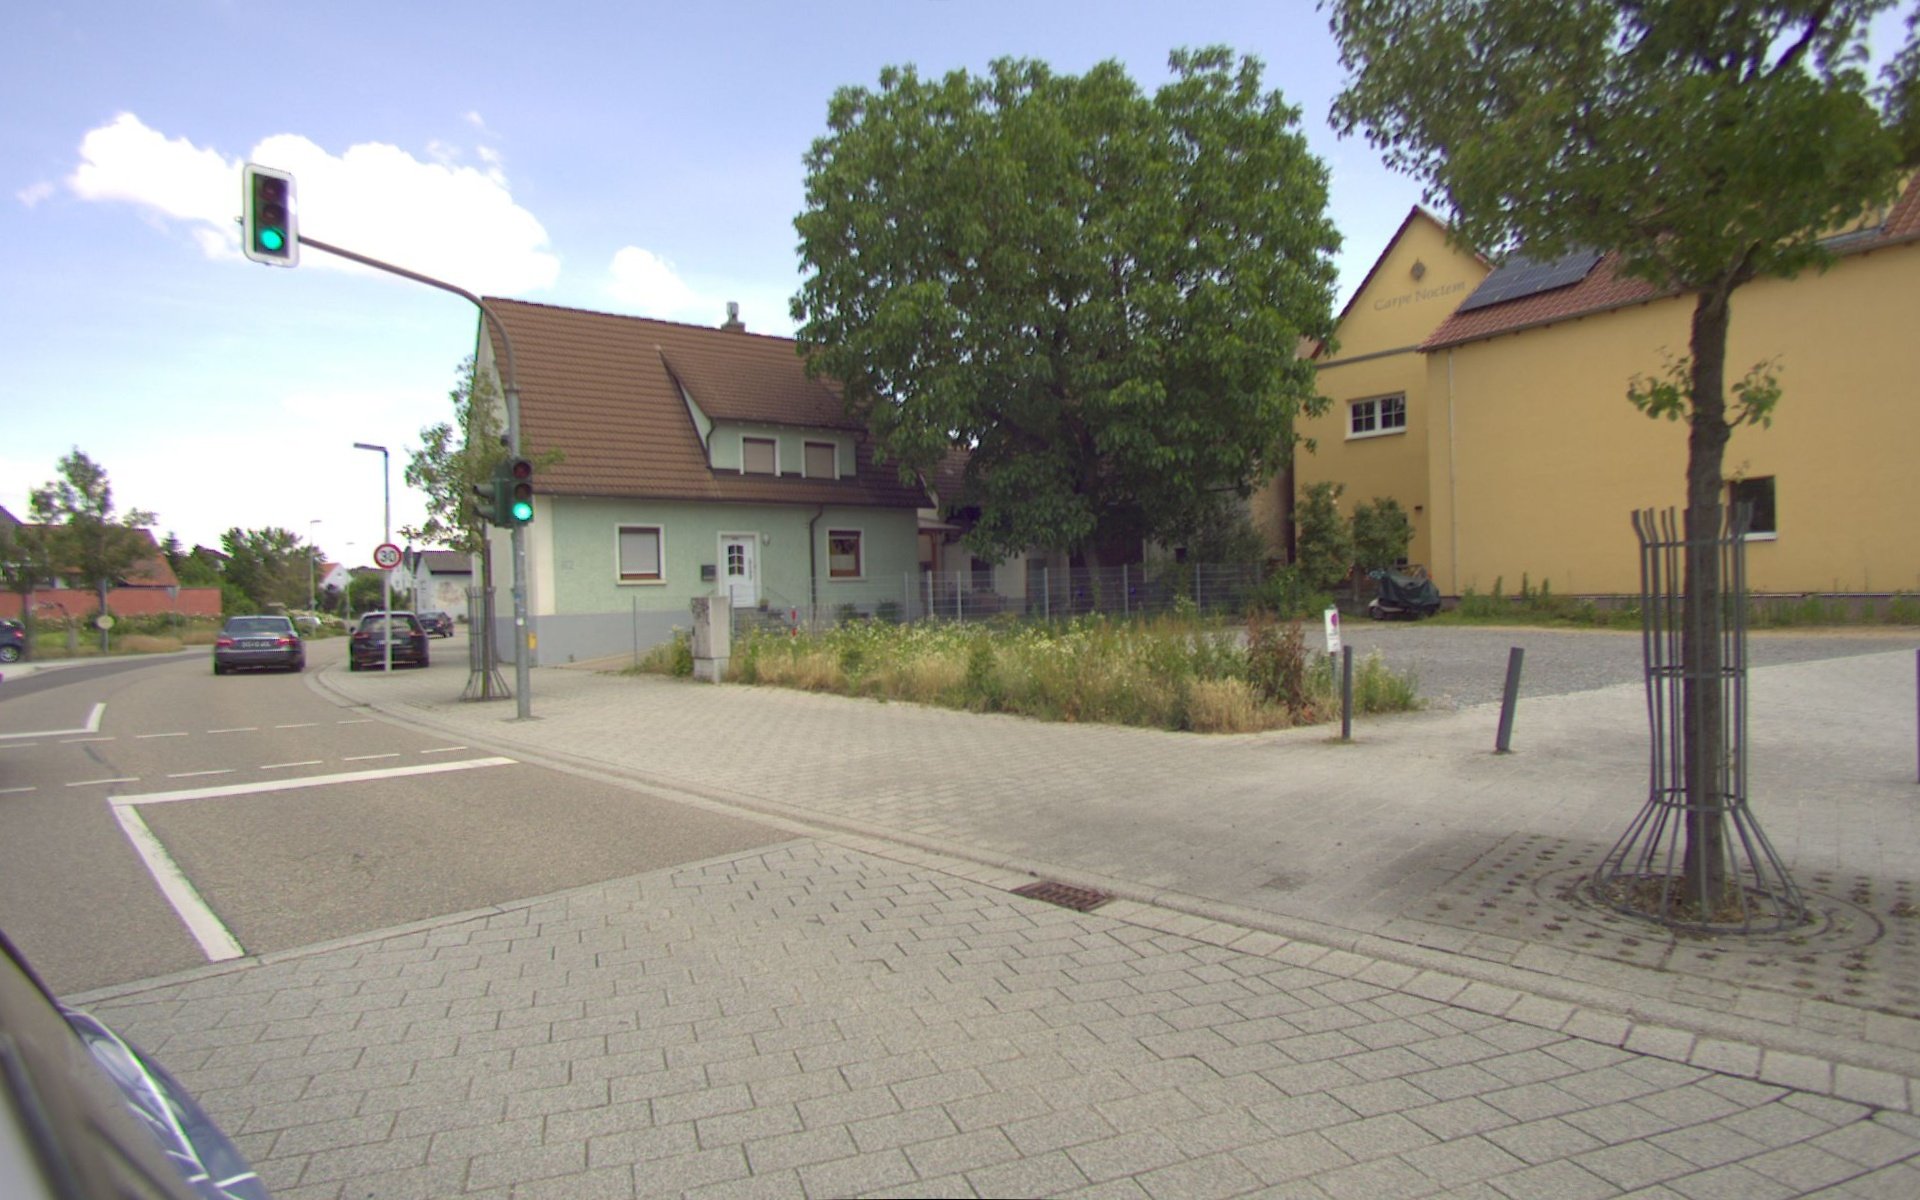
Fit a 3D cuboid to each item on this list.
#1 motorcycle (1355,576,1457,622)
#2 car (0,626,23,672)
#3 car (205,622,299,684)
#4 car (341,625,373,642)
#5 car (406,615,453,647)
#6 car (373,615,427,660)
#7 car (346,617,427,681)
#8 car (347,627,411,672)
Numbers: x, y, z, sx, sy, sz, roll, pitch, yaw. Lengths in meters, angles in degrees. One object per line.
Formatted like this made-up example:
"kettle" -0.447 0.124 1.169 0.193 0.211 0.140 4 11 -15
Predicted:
"motorcycle" 10.670 -0.013 24.270 0.772 1.028 2.069 -2 -1 -41
"car" -35.488 1.786 35.693 3.496 1.605 1.668 -2 0 -42
"car" -18.521 1.347 26.562 1.859 1.446 4.607 0 -2 -34
"car" -43.588 2.403 73.150 1.966 1.198 4.012 0 -1 -31
"car" -27.845 1.610 53.222 1.632 1.586 3.703 -1 0 -19
"car" -20.882 1.363 37.829 1.632 1.574 3.703 -1 0 -27
"car" -15.159 1.226 26.708 1.709 1.502 4.514 -1 0 -31
"car" -18.643 1.552 32.592 1.608 1.276 3.486 0 -1 -27
